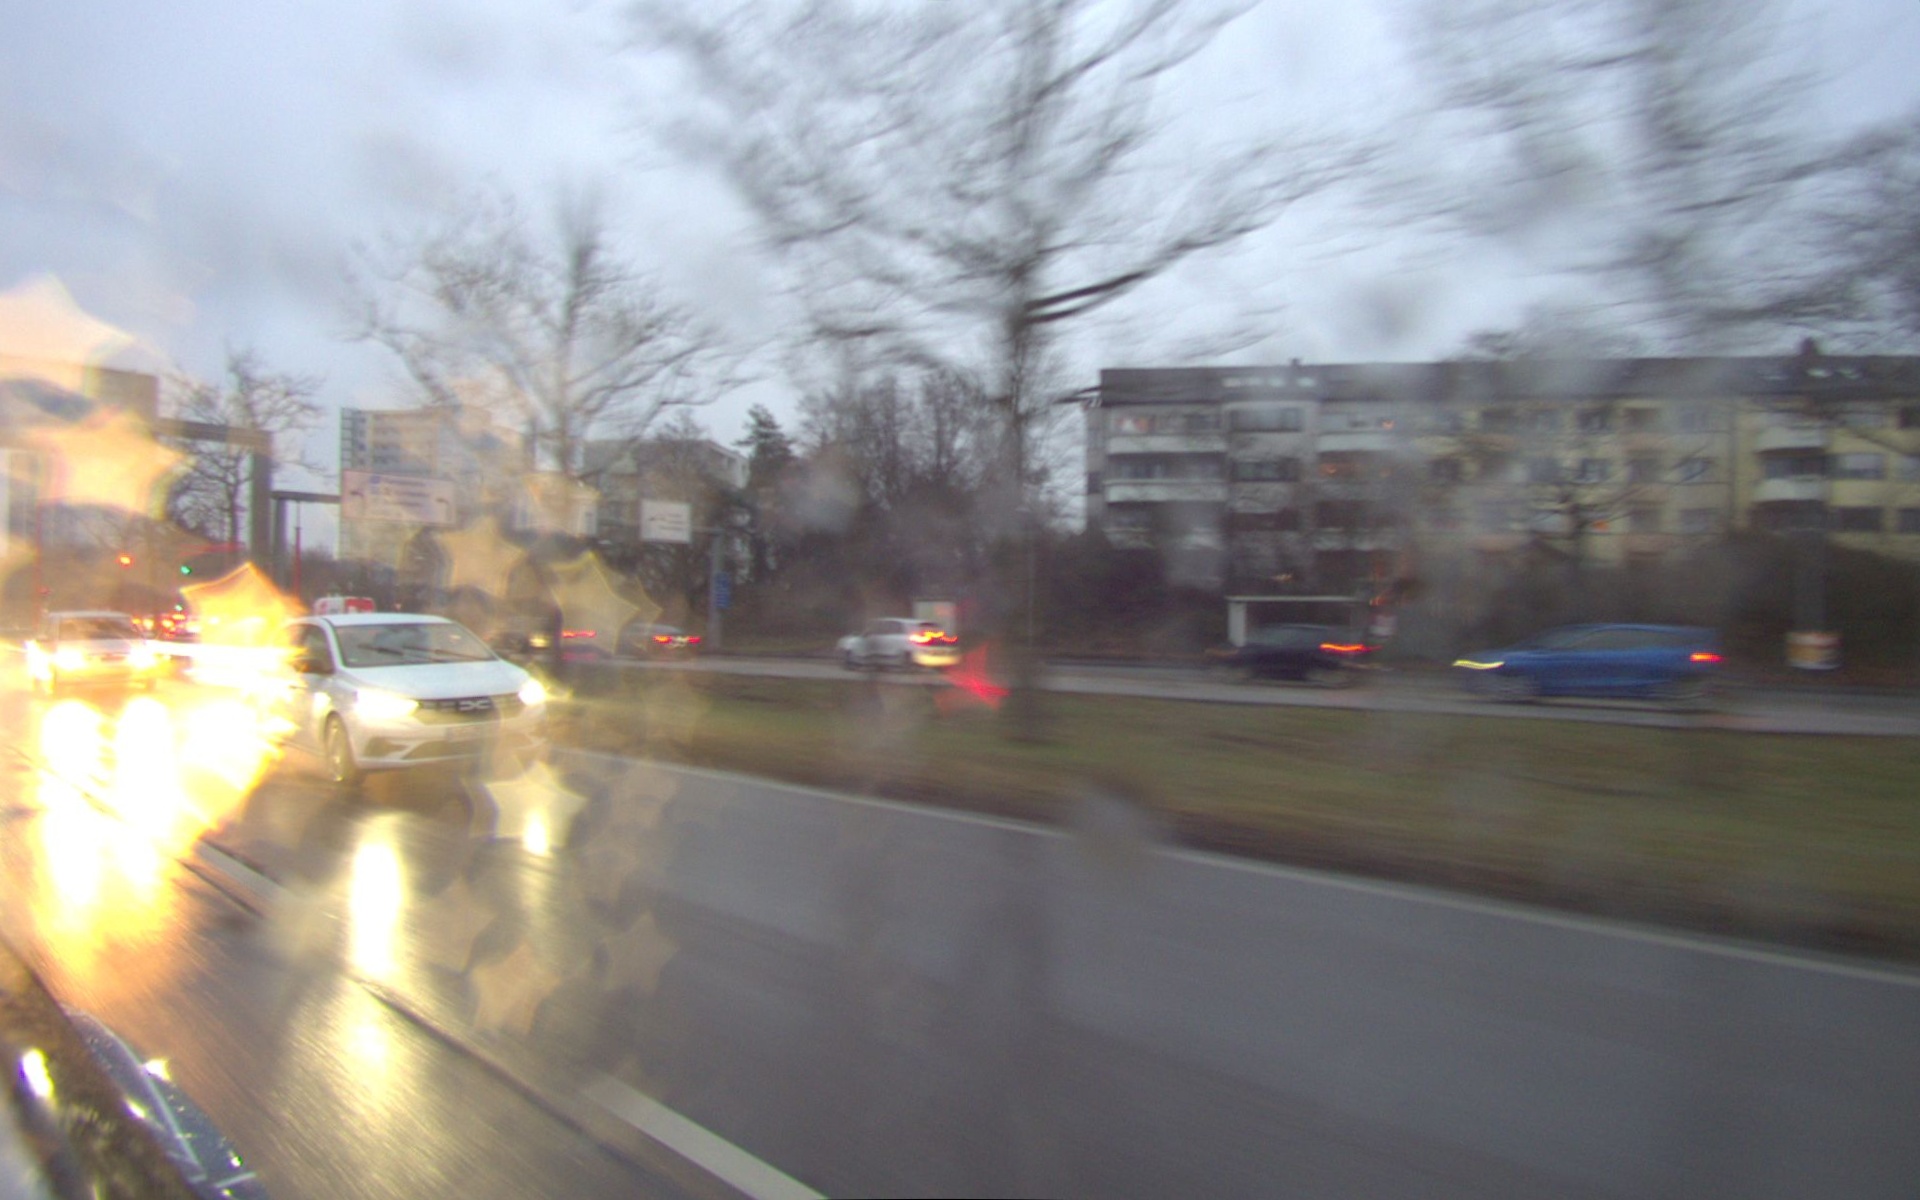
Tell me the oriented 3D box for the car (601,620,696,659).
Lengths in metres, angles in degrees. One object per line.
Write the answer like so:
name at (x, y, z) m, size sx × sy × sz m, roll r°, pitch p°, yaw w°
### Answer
car at (-11.531, 1.424, 37.335) m, size 3.954 × 1.338 × 1.521 m, roll -1°, pitch -1°, yaw 41°

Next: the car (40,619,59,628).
car at (-122.027, 3.112, 135.599) m, size 3.998 × 1.211 × 1.410 m, roll -1°, pitch -1°, yaw 41°

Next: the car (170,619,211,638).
car at (-52.441, 1.946, 68.925) m, size 3.998 × 1.206 × 1.440 m, roll -1°, pitch 0°, yaw 41°

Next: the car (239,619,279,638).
car at (-49.202, 1.972, 71.035) m, size 3.998 × 1.283 × 1.410 m, roll -1°, pitch -1°, yaw 41°

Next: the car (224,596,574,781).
car at (-5.682, 0.732, 10.025) m, size 4.224 × 1.451 × 1.706 m, roll -1°, pitch -1°, yaw 41°

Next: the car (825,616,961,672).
car at (-1.973, 1.214, 29.279) m, size 3.954 × 1.511 × 1.631 m, roll -1°, pitch -1°, yaw 41°

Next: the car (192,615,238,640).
car at (-48.019, 1.751, 65.223) m, size 3.998 × 1.514 × 1.553 m, roll -1°, pitch 0°, yaw 41°

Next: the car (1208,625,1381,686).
car at (8.138, 1.307, 24.758) m, size 3.701 × 1.364 × 1.633 m, roll -1°, pitch -1°, yaw 39°

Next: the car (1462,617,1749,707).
car at (10.973, 0.979, 17.365) m, size 3.954 × 1.364 × 1.632 m, roll -1°, pitch -1°, yaw 41°

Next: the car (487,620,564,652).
car at (-19.007, 1.536, 44.194) m, size 3.998 × 1.321 × 1.521 m, roll -1°, pitch -1°, yaw 41°

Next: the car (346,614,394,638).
car at (-37.694, 1.648, 64.630) m, size 4.000 × 1.415 × 1.553 m, roll -1°, pitch 0°, yaw 43°

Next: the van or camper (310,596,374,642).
van or camper at (-36.441, 1.105, 59.631) m, size 4.737 × 2.629 × 1.942 m, roll -1°, pitch -1°, yaw 41°

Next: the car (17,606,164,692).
car at (-18.079, 0.958, 20.980) m, size 4.163 × 1.611 × 1.743 m, roll -1°, pitch -1°, yaw 41°

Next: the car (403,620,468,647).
car at (-26.210, 1.642, 50.509) m, size 3.998 × 1.302 × 1.521 m, roll -1°, pitch -1°, yaw 41°
